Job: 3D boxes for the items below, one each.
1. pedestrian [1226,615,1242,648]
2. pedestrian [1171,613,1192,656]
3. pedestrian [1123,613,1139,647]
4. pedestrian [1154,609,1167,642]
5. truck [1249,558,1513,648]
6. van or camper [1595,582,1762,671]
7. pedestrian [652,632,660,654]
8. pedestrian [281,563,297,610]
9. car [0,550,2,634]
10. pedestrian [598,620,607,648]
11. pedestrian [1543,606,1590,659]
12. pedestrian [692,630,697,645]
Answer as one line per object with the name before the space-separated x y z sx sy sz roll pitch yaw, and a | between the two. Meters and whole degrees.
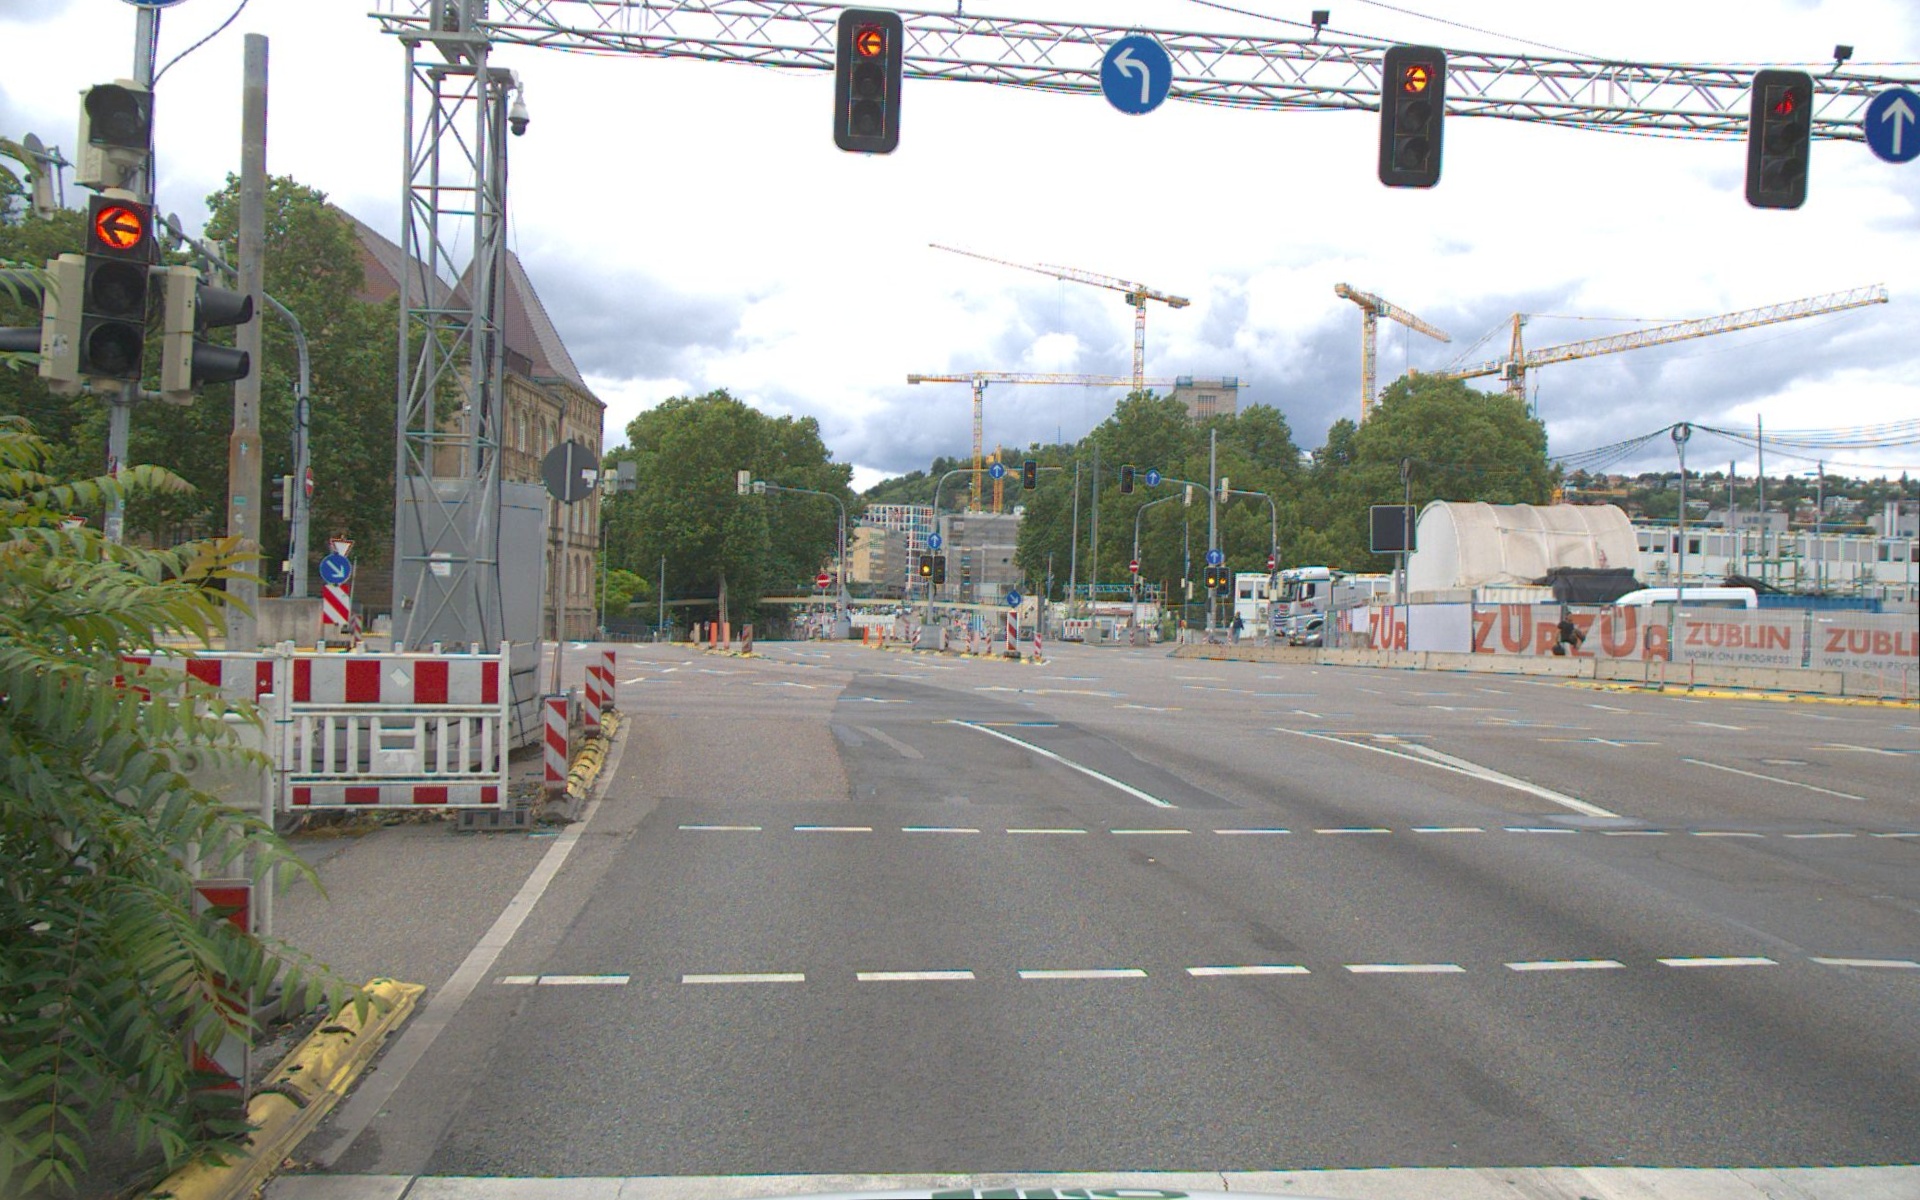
pedestrian | 14.606 1.652 88.015 0.609 1.718 0.710 2 0 28
pedestrian | 9.067 1.414 67.663 0.714 1.718 0.677 2 0 -1
pedestrian | 9.020 1.587 87.374 0.714 1.718 0.677 2 0 -1
pedestrian | 10.638 1.333 87.700 0.555 1.718 0.471 2 0 -1
truck | 20.999 0.176 82.320 12.837 4.111 3.927 1 0 -21
van or camper | 20.730 0.747 47.911 4.123 2.398 2.001 1 0 14
pedestrian | -28.239 3.983 153.624 0.513 2.049 0.566 1 0 -1
pedestrian | -29.597 -0.604 72.948 0.523 2.049 0.421 2 0 -44
car | -19.706 -0.121 29.350 4.239 1.705 1.993 2 0 -14
pedestrian | -26.720 2.567 123.715 0.513 2.049 0.566 1 0 -1
pedestrian | 16.526 0.875 45.081 0.786 1.402 0.897 2 0 -26
pedestrian | -28.696 4.014 178.775 0.525 1.620 0.515 1 0 -5
